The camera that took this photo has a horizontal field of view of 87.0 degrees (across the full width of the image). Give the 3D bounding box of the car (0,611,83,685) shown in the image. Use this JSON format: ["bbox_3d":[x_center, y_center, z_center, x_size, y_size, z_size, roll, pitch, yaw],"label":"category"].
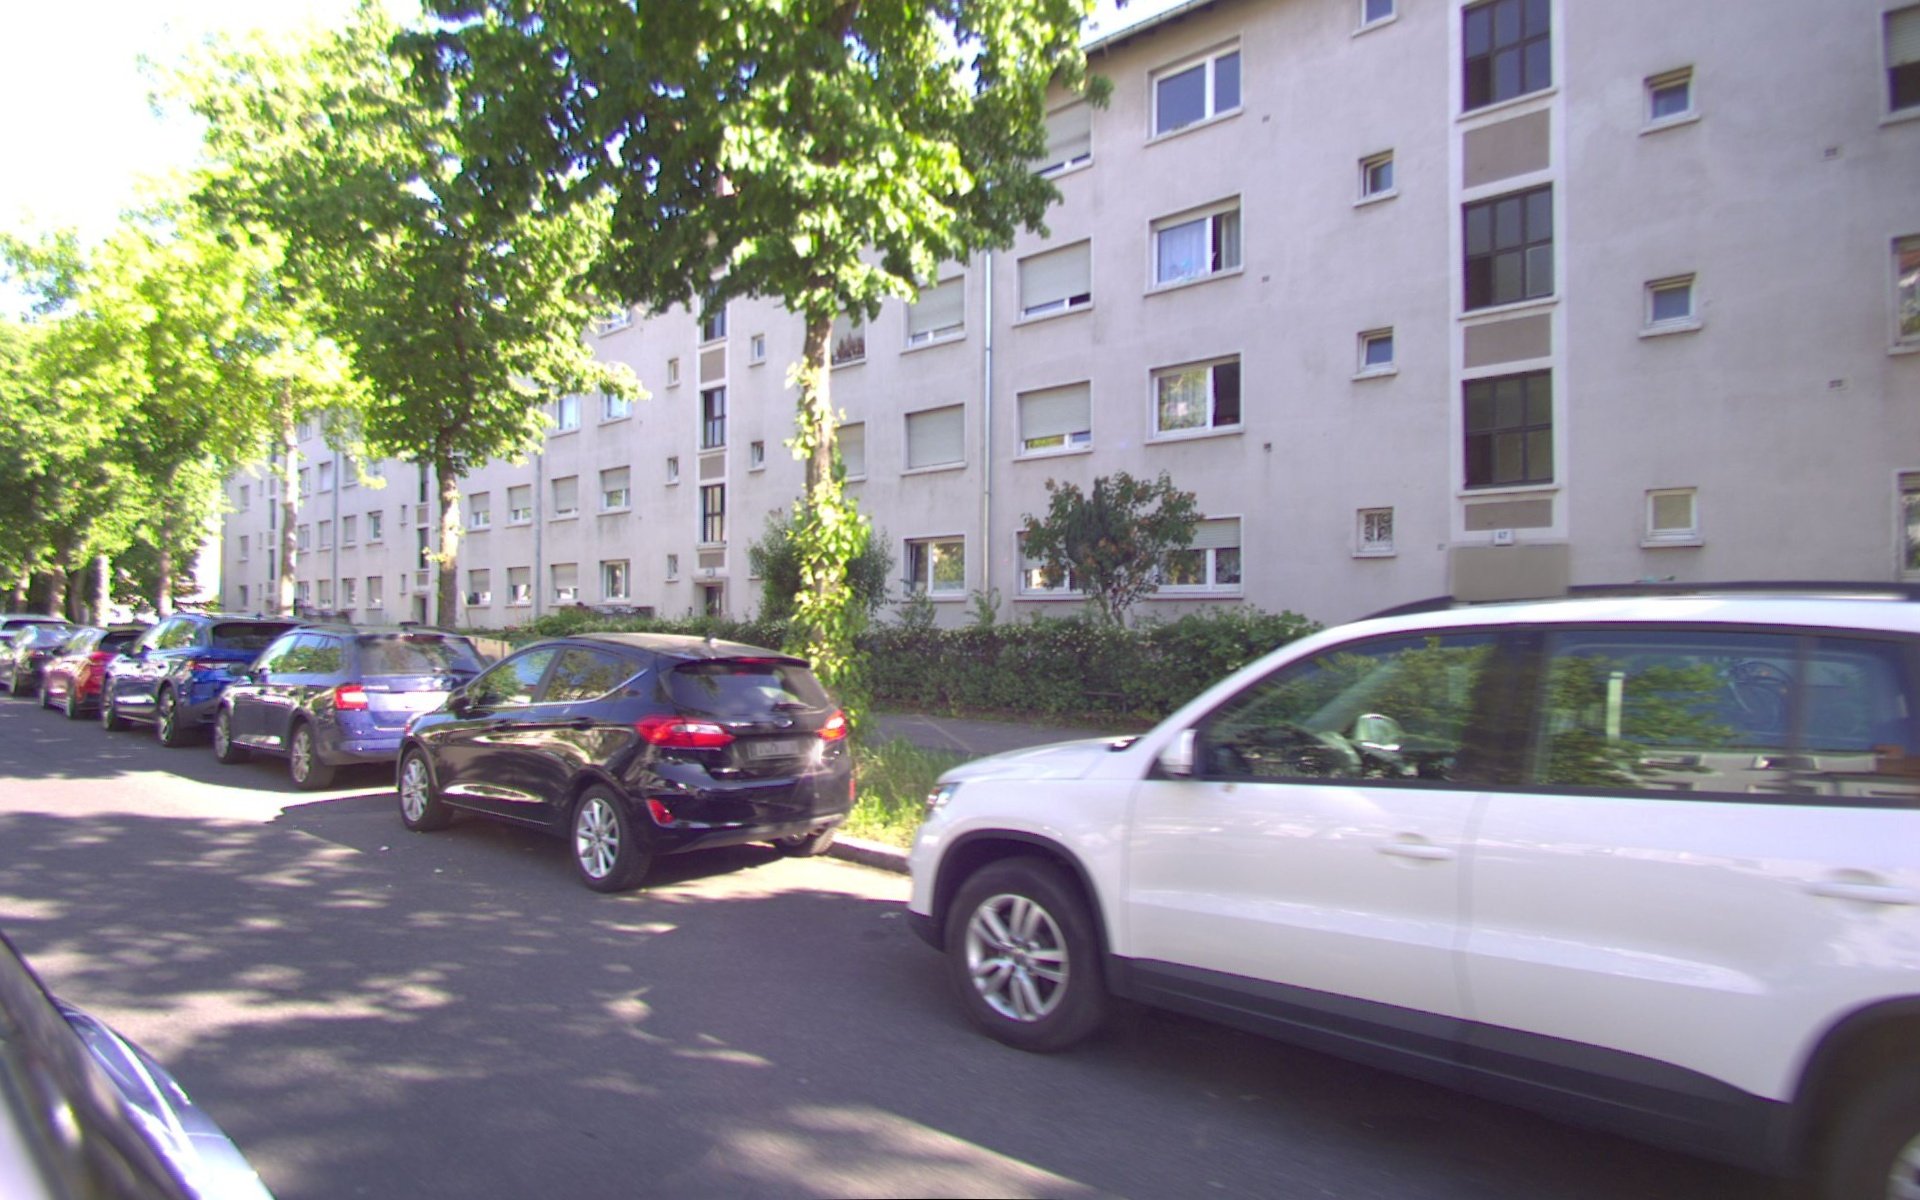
[{"bbox_3d":[-22.854,1.108,24.545,4.362,1.630,1.711,-1,0,40],"label":"car"}]

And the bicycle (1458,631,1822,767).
[{"bbox_3d":[6.653,0.896,10.291,0.900,1.145,3.246,1,-2,-16],"label":"bicycle"}]

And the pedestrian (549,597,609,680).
[{"bbox_3d":[-8.973,0.899,23.836,1.026,1.902,0.922,-1,-3,44],"label":"pedestrian"}]

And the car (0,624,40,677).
[{"bbox_3d":[-28.282,1.428,29.314,4.816,1.458,1.710,-1,-5,40],"label":"car"}]

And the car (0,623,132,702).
[{"bbox_3d":[-19.124,1.284,21.349,4.616,1.489,1.710,-1,-6,41],"label":"car"}]

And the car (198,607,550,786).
[{"bbox_3d":[-6.104,0.853,10.355,4.119,1.464,1.811,-1,-3,40],"label":"car"}]

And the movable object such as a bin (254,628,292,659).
[{"bbox_3d":[-24.906,1.580,36.708,0.753,1.100,0.921,-1,-2,35],"label":"movable object such as a bin"}]

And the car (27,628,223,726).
[{"bbox_3d":[-13.849,1.197,16.700,4.260,1.389,1.761,-1,-4,41],"label":"car"}]

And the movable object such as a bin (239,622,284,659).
[{"bbox_3d":[-25.770,1.473,37.313,1.376,1.334,0.921,-1,-2,35],"label":"movable object such as a bin"}]

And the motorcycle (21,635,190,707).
[{"bbox_3d":[-16.167,1.339,19.231,0.805,1.280,2.269,0,-3,30],"label":"motorcycle"}]

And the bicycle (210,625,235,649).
[{"bbox_3d":[-37.902,1.871,51.993,1.911,1.210,0.678,-1,-2,43],"label":"bicycle"}]

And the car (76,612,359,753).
[{"bbox_3d":[-9.944,1.009,13.434,4.458,1.578,1.772,-1,-5,38],"label":"car"}]

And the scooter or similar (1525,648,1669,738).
[{"bbox_3d":[7.841,1.111,12.475,1.409,0.997,0.775,-1,-1,40],"label":"scooter or similar"}]

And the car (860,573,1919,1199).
[{"bbox_3d":[1.792,0.792,3.370,4.230,1.608,1.793,-1,-3,40],"label":"car"}]

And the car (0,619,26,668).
[{"bbox_3d":[-31.986,1.376,32.592,4.715,1.536,2.044,-1,-2,38],"label":"car"}]

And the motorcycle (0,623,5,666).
[{"bbox_3d":[-34.899,1.539,35.300,2.203,1.515,0.989,1,-2,1],"label":"motorcycle"}]

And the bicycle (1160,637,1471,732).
[{"bbox_3d":[4.888,1.112,14.233,3.990,1.145,1.094,-1,-2,35],"label":"bicycle"}]

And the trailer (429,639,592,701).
[{"bbox_3d":[-8.848,1.319,19.840,3.281,1.042,1.769,-1,-2,43],"label":"trailer"}]

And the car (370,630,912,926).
[{"bbox_3d":[-2.369,0.982,7.054,3.905,1.455,1.744,-1,-4,40],"label":"car"}]

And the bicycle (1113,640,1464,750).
[{"bbox_3d":[3.944,1.085,12.515,3.990,1.145,1.094,-1,-2,35],"label":"bicycle"}]
